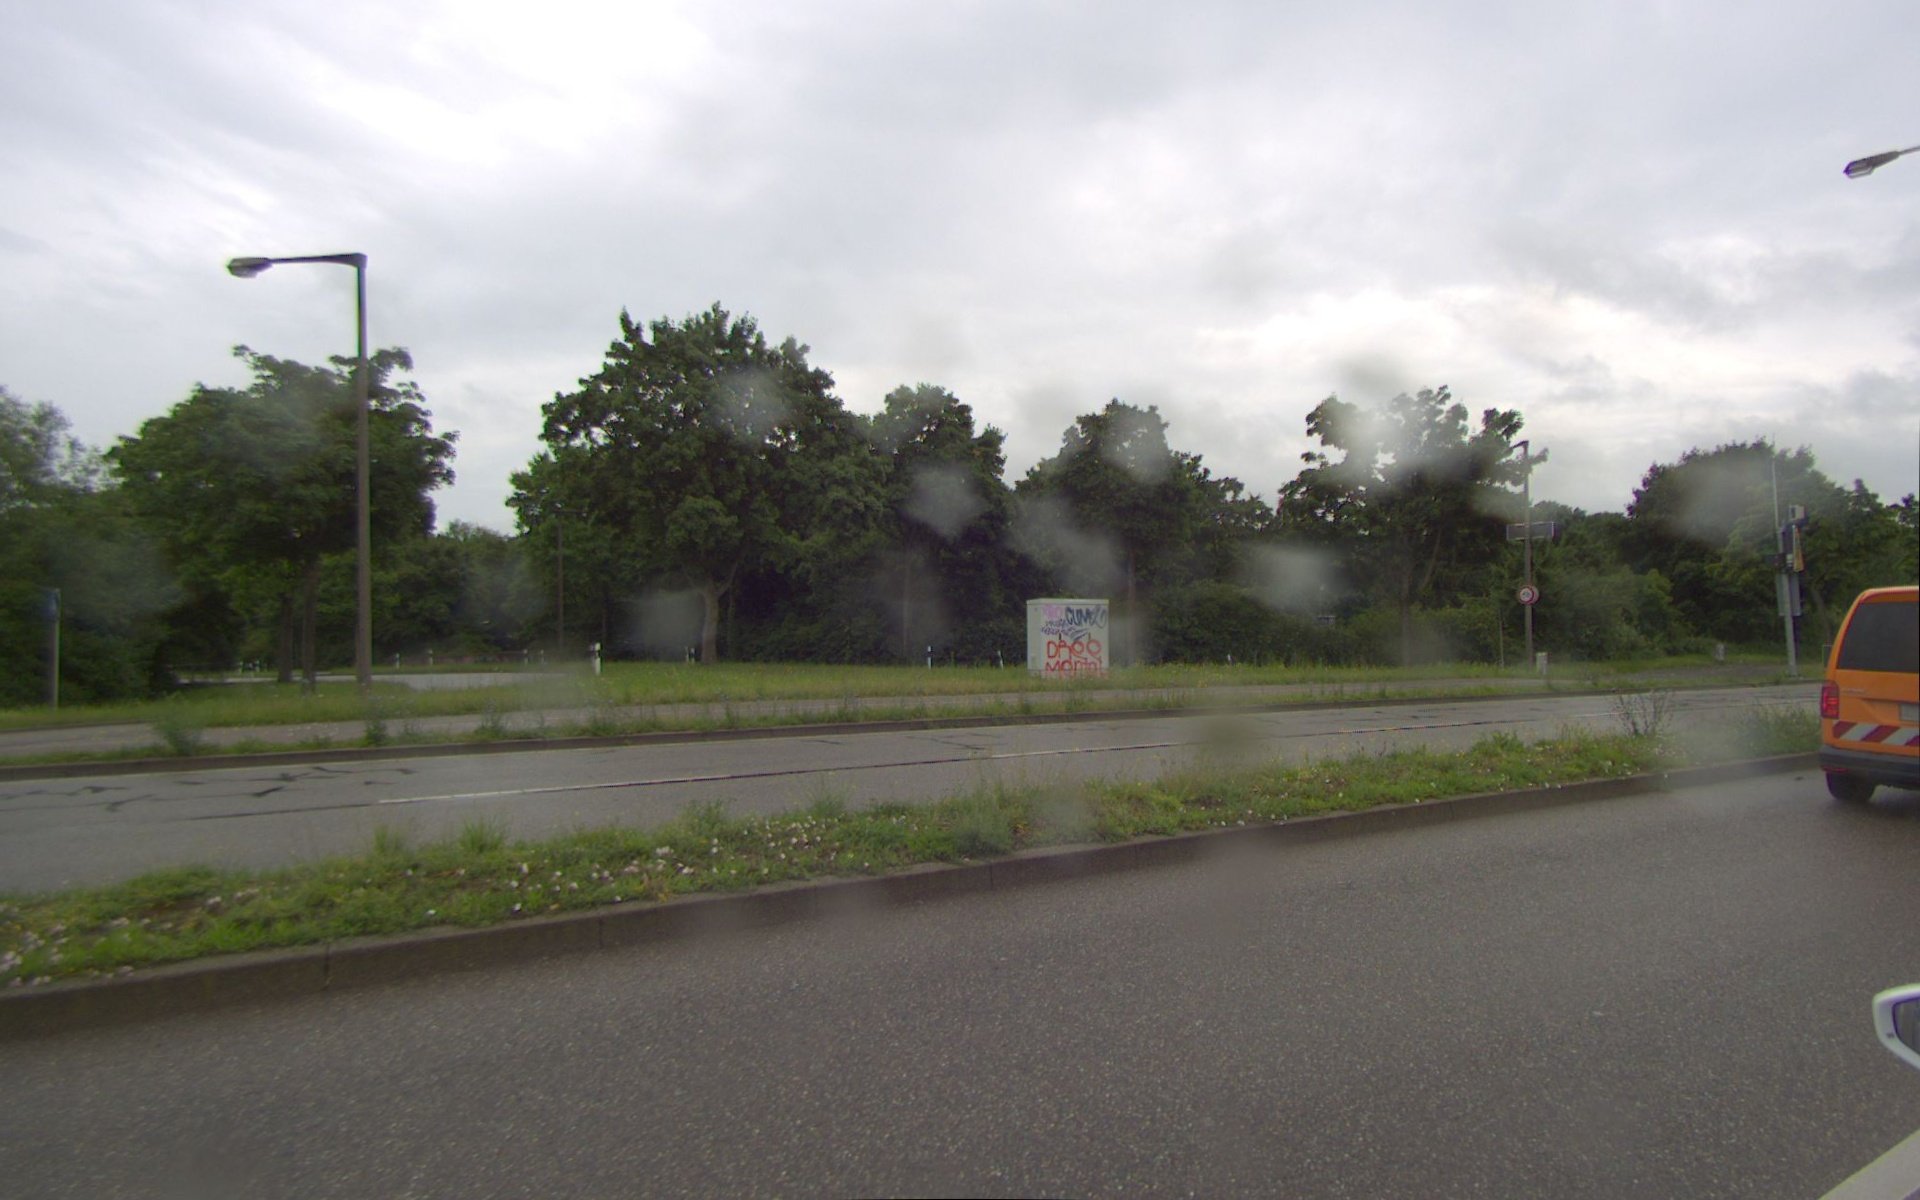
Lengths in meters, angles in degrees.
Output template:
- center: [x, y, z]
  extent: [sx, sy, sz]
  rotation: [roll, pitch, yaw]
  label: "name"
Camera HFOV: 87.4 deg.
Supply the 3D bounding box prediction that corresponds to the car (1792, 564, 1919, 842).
- center: [9.178, 0.816, 8.508]
  extent: [4.793, 2.046, 1.726]
  rotation: [1, 1, -31]
  label: "car"
